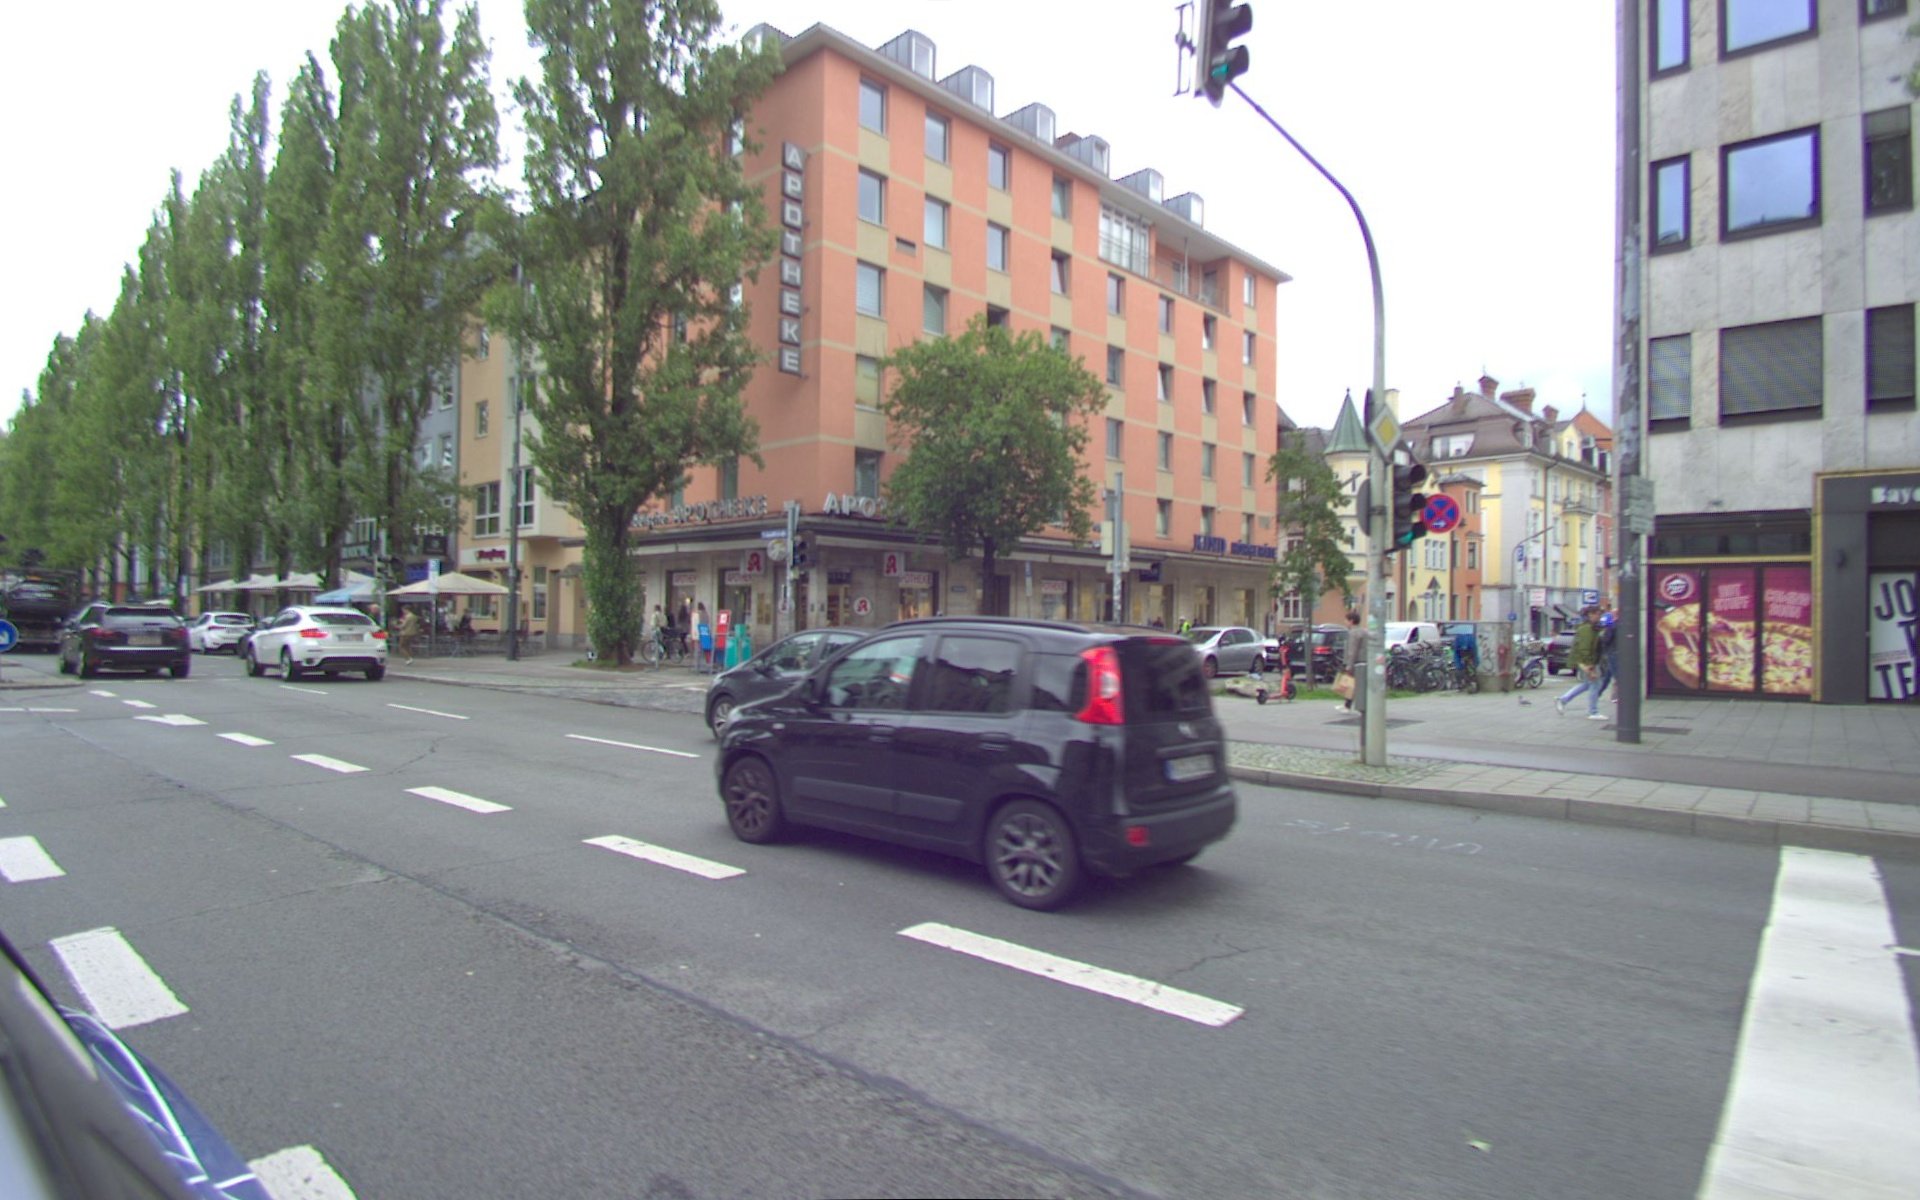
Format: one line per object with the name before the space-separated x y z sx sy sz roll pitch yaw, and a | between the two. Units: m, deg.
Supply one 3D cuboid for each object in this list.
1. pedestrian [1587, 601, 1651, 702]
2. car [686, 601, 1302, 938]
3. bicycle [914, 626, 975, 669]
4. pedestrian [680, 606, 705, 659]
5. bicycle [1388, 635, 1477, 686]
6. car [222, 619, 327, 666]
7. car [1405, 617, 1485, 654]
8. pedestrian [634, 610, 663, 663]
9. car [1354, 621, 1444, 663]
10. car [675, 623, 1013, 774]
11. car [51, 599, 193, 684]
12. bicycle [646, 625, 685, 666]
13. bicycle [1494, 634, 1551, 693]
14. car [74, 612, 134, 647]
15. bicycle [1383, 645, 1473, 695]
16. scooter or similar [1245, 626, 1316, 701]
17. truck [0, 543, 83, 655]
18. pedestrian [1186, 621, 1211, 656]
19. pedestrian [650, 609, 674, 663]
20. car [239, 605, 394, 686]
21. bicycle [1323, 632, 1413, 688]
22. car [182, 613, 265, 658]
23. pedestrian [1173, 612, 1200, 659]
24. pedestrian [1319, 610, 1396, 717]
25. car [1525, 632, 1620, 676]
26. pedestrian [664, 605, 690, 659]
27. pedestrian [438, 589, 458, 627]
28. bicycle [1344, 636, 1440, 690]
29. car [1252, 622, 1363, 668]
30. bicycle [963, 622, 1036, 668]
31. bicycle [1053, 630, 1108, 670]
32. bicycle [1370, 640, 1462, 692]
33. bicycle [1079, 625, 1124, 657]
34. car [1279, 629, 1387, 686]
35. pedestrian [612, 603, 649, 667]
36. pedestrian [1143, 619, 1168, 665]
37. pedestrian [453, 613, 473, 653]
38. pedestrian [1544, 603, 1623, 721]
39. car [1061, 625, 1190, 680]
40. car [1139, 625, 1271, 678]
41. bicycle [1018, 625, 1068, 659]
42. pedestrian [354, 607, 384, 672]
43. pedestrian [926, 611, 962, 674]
pedestrian | 12.133 0.927 18.643 0.690 1.801 0.821 1 -2 -41
car | 0.039 0.802 6.344 3.692 1.507 1.546 -1 -3 40
bicycle | -0.448 1.390 30.032 2.031 1.193 0.417 0 0 -42
pedestrian | -8.701 1.055 32.963 0.513 1.703 0.580 -1 -2 41
bicycle | 11.652 1.472 25.028 0.409 1.193 2.069 1 -1 -33
car | -23.235 1.403 34.232 4.586 1.449 1.686 0 -2 39
car | 20.138 1.432 41.958 1.787 1.431 4.008 1 -1 45
pedestrian | -9.597 1.124 31.206 0.548 1.595 0.649 -1 -2 42
car | 16.620 1.547 38.217 1.787 1.431 4.008 1 -1 45
car | -1.459 1.021 11.838 3.994 1.450 1.625 -1 -3 40
car | -19.402 0.905 23.374 4.437 1.759 1.864 -1 -2 42
bicycle | -8.509 1.314 29.234 1.373 1.150 0.416 -1 -2 42
bicycle | 12.588 1.392 22.626 0.558 1.259 2.108 -1 -2 44
car | -44.875 1.519 53.044 4.585 1.693 1.761 0 -2 42
bicycle | 11.922 1.764 25.827 2.051 1.193 0.447 0 -1 25
scooter or similar | 5.902 1.147 18.640 1.342 1.349 0.439 1 -1 -29
truck | -34.438 -0.012 36.938 8.435 3.698 2.437 0 -1 41
pedestrian | 9.886 1.584 41.901 0.780 1.401 0.656 0 0 40
pedestrian | -9.421 1.121 31.994 0.626 1.683 0.502 -1 -1 42
car | -15.190 1.013 23.785 4.634 1.729 1.818 -1 -2 41
bicycle | 9.218 1.339 22.888 1.849 1.193 0.411 -1 -2 35
car | -28.361 1.343 38.931 4.094 1.595 1.685 0 -2 41
pedestrian | 8.604 1.344 38.487 0.780 1.780 0.655 -1 -2 40
pedestrian | 6.293 0.972 16.025 0.934 1.631 0.770 -1 -2 40
car | 22.005 1.916 36.308 3.941 1.482 2.001 3 -4 -45
pedestrian | -9.073 1.025 32.403 0.519 1.701 0.623 0 0 42
pedestrian | -22.583 0.375 44.614 0.691 1.651 0.549 -1 -2 40
bicycle | 10.103 1.459 23.698 2.028 1.193 0.411 -1 -2 35
car | 11.579 1.453 33.638 3.937 1.431 1.745 1 -2 -41
bicycle | 1.039 1.187 27.107 2.058 1.193 0.411 -1 -2 35
bicycle | 3.891 1.601 32.601 2.031 1.193 0.538 0 0 -42
bicycle | 10.908 1.563 24.260 1.995 1.193 0.413 0 -1 22
bicycle | 5.506 1.580 39.360 0.690 1.193 2.034 -1 -2 43
car | 10.645 1.583 28.753 1.771 1.486 3.654 -1 -2 40
pedestrian | -9.400 0.983 28.876 0.778 1.784 0.716 -1 -2 42
pedestrian | 7.743 1.666 40.089 0.780 1.780 0.656 0 0 40
pedestrian | -22.063 1.453 44.967 0.691 1.731 0.549 -1 -2 40
pedestrian | 9.625 0.923 15.614 0.941 1.753 0.719 0 0 40
car | 5.077 1.554 30.864 3.937 1.431 1.784 0 0 -41
car | 7.197 1.444 29.550 3.937 1.431 1.784 1 -1 -41
bicycle | 3.027 1.503 36.798 0.690 1.193 2.034 -1 -2 43
pedestrian | -16.804 1.099 28.767 0.725 1.809 0.995 0 0 -31
pedestrian | -0.467 1.197 29.020 0.692 1.780 0.770 -1 -2 41
